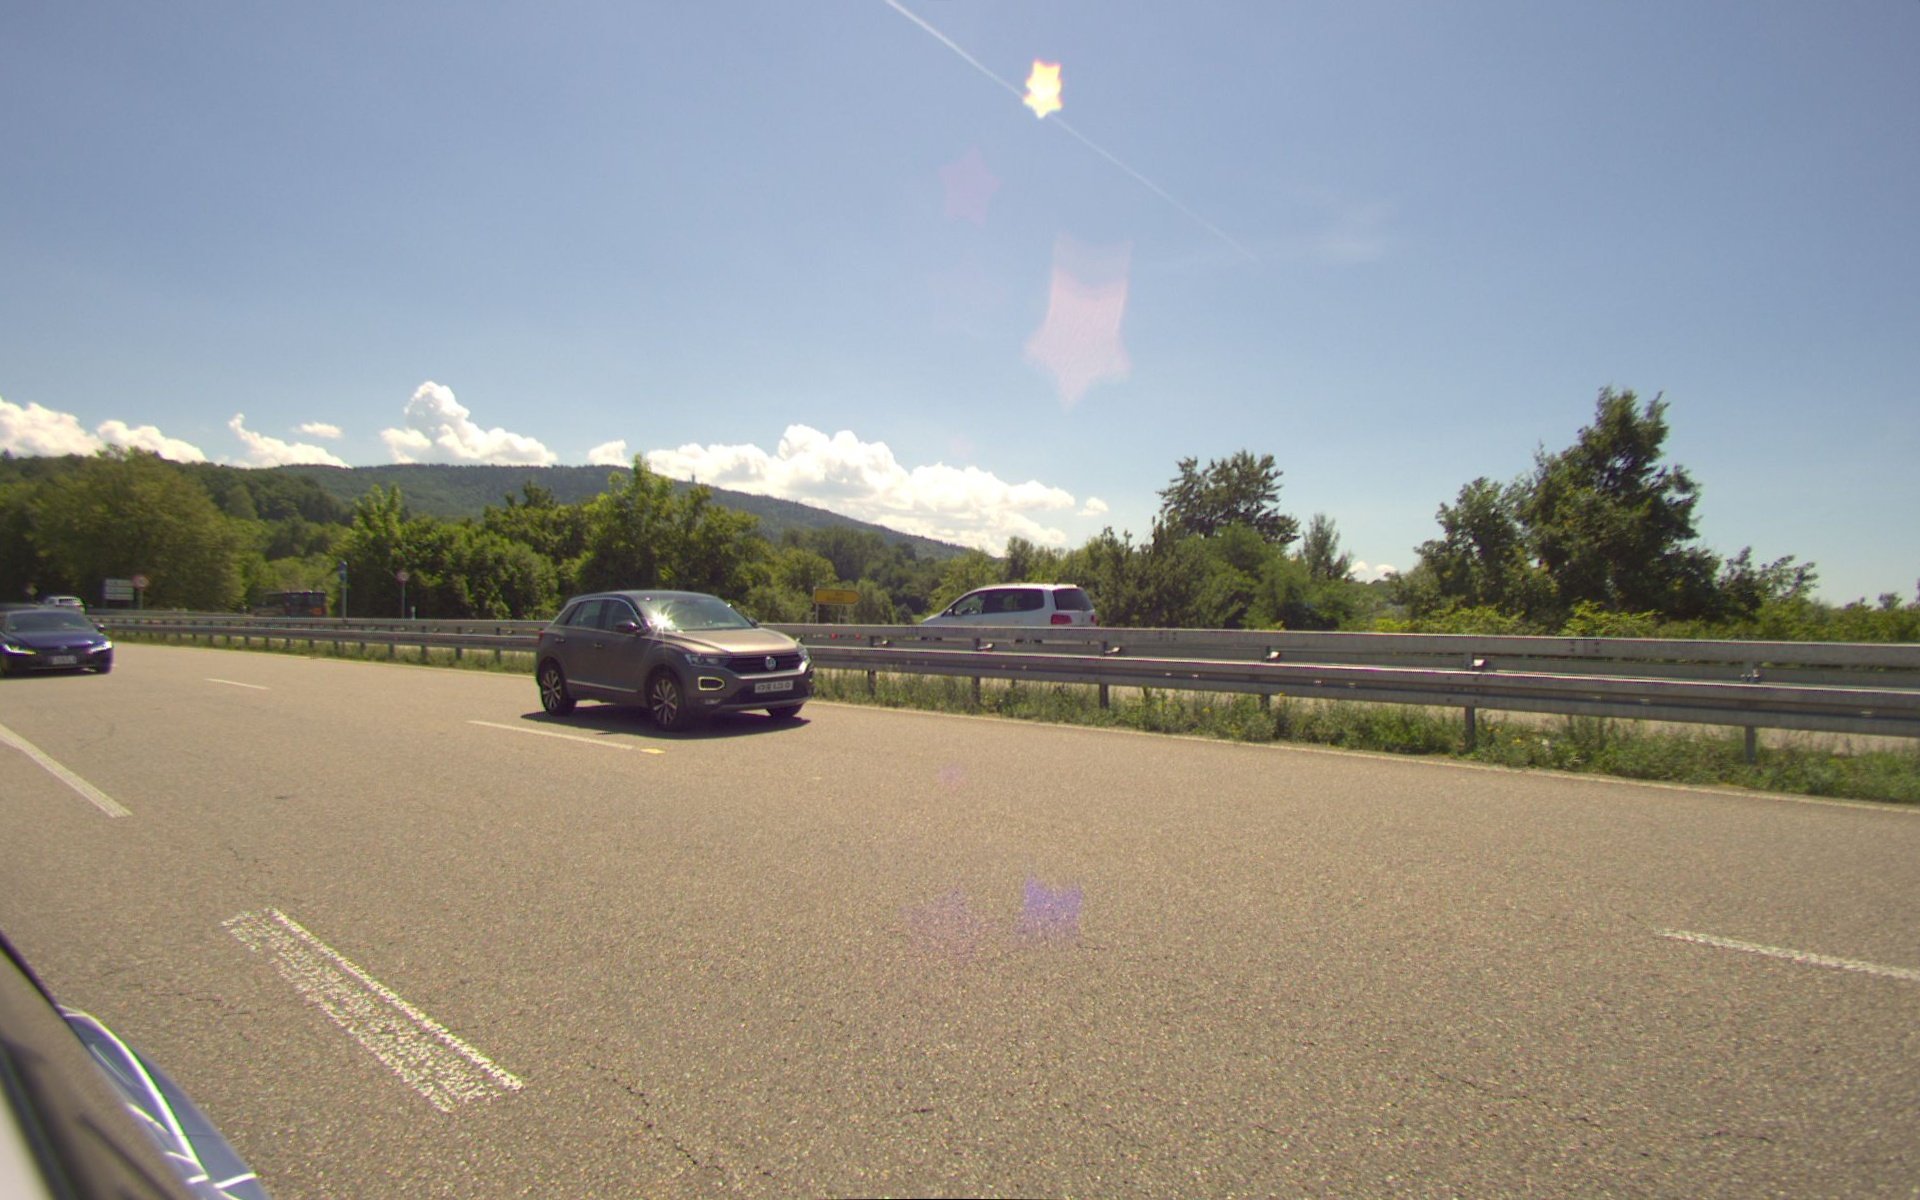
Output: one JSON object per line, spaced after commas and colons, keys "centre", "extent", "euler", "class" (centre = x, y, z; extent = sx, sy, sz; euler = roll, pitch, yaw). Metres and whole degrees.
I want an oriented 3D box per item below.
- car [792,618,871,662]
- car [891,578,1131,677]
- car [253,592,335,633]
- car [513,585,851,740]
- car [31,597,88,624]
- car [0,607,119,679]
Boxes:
{"centre": [-6.418, 1.930, 50.005], "extent": [2.173, 1.907, 4.928], "euler": [1, 1, -30], "class": "car"}
{"centre": [1.027, 0.502, 22.063], "extent": [4.909, 1.907, 2.181], "euler": [1, 1, 40], "class": "car"}
{"centre": [-33.372, 0.594, 50.678], "extent": [4.910, 1.907, 2.181], "euler": [1, 1, 41], "class": "car"}
{"centre": [-3.520, 0.630, 12.339], "extent": [4.468, 1.541, 1.822], "euler": [-1, 1, 41], "class": "car"}
{"centre": [-67.587, 0.737, 75.935], "extent": [4.898, 1.907, 1.977], "euler": [1, 1, 33], "class": "car"}
{"centre": [-20.529, 0.901, 22.657], "extent": [4.466, 1.418, 1.823], "euler": [-1, 1, 40], "class": "car"}
